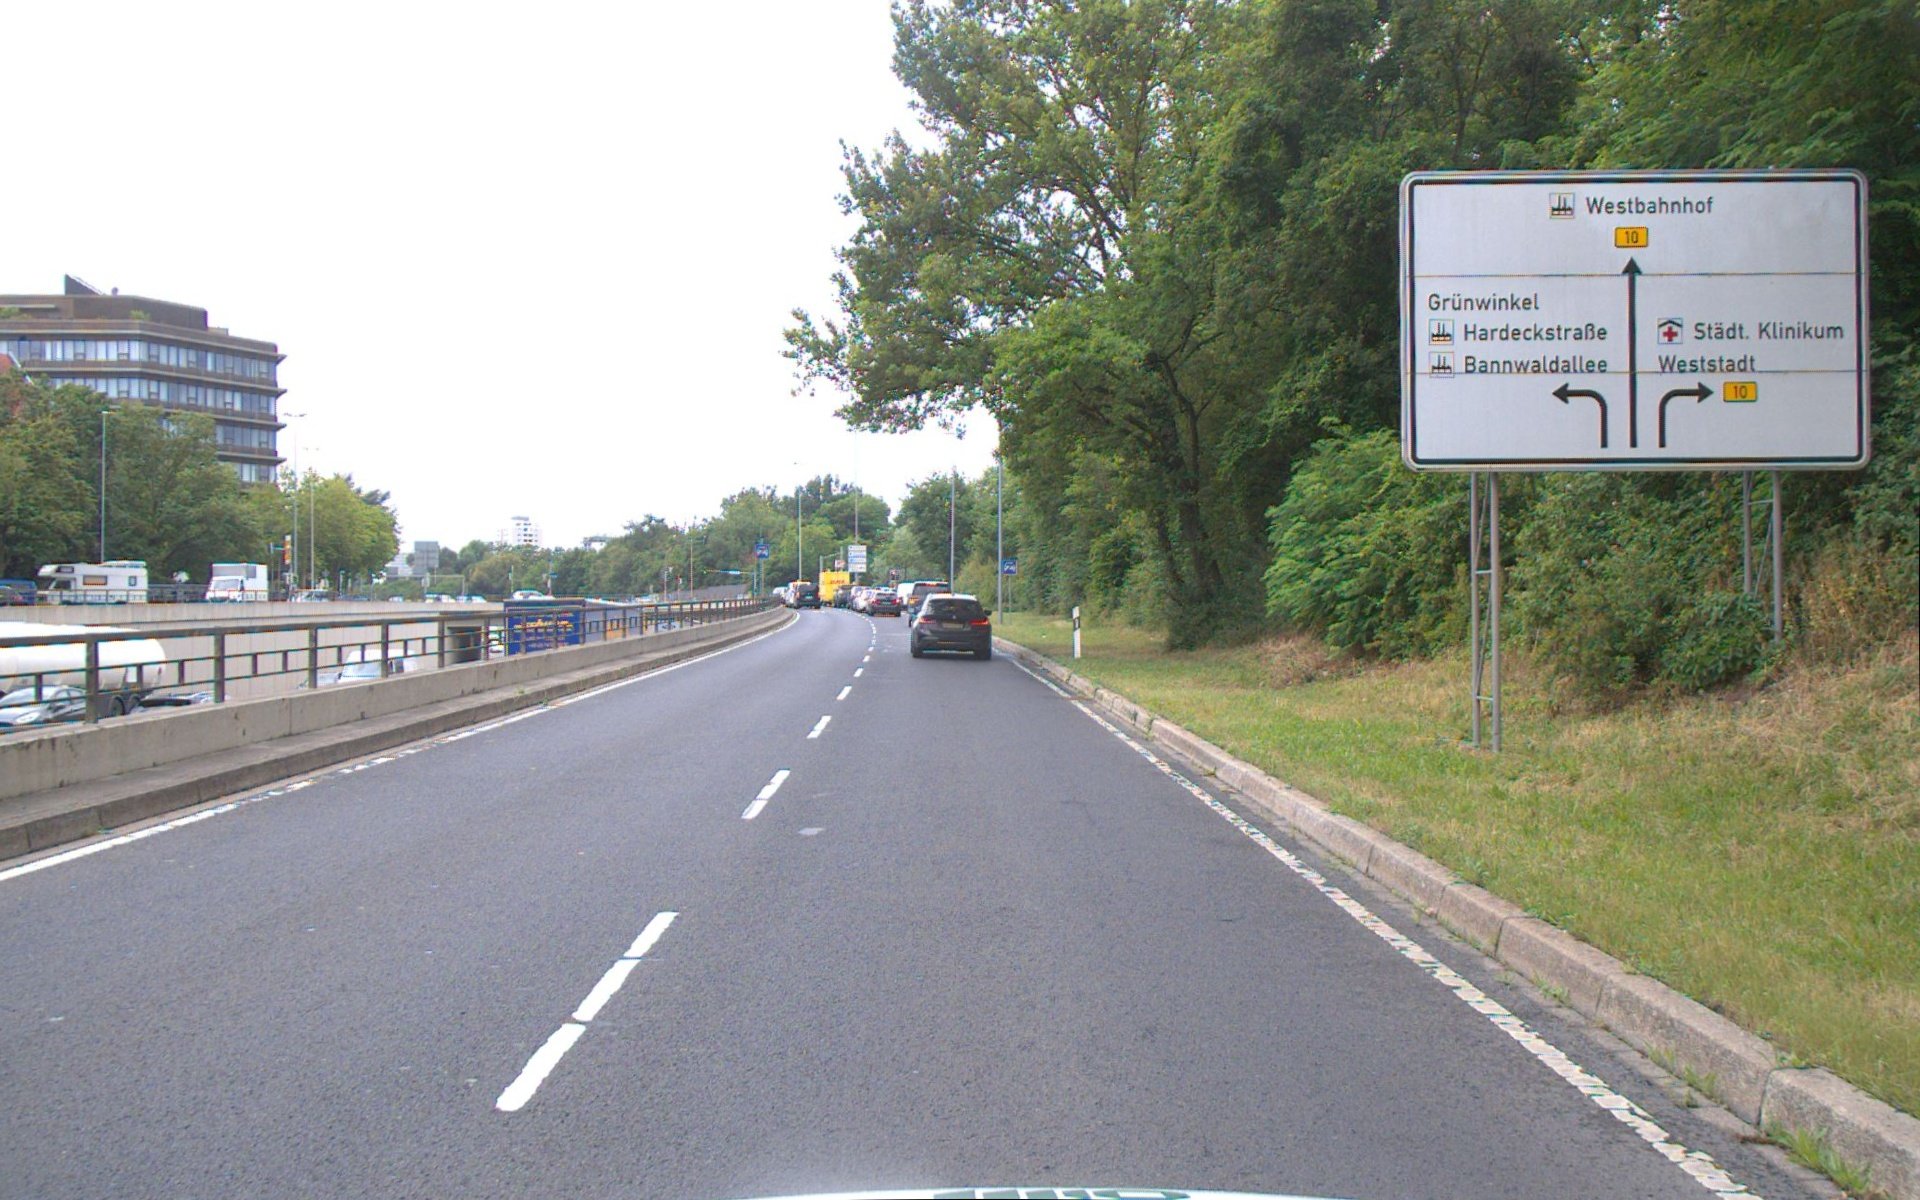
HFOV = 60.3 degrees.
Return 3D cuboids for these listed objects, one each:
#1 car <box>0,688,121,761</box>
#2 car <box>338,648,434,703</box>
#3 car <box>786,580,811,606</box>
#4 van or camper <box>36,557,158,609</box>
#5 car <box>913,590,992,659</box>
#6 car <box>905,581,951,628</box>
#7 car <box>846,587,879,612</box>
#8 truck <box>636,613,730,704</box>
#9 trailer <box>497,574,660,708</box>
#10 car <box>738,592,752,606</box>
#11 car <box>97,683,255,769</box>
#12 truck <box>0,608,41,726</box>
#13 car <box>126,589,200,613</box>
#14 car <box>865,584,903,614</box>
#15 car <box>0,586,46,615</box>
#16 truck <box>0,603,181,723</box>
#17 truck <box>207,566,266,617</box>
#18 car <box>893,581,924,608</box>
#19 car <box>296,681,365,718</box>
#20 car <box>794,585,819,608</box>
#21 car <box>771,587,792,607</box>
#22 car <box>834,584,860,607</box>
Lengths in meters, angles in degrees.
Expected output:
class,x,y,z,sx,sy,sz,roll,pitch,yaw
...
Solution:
class,x,y,z,sx,sy,sz,roll,pitch,yaw
car,-23.544,3.184,42.919,1.590,1.579,3.952,-1,0,-1
car,-25.345,3.284,73.340,2.165,2.034,6.652,-2,0,-3
car,-13.140,-0.556,134.271,1.849,2.022,4.423,1,0,-7
van or camper,-49.933,-0.969,95.777,2.109,2.859,5.885,1,-1,43
car,-0.231,0.523,38.206,1.713,1.451,4.460,0,1,-2
car,-1.346,0.203,70.361,1.860,1.917,4.414,1,0,-1
car,-6.445,-0.031,109.159,1.849,1.620,4.423,1,0,-7
truck,-13.793,2.721,83.579,2.794,4.107,15.569,-1,0,-3
trailer,-13.243,1.308,59.073,2.794,4.107,15.996,-1,0,-3
car,-26.744,-0.105,205.557,1.592,1.731,4.290,1,0,-6
car,-16.921,2.677,35.884,1.590,1.555,3.896,1,0,-1
truck,-28.037,1.891,46.212,2.474,3.276,4.316,-1,0,-3
car,-51.067,0.071,106.083,1.597,1.466,3.983,1,0,37
car,-4.388,-0.049,95.059,1.849,1.620,4.423,1,0,-7
car,-48.961,0.019,84.156,1.597,1.466,3.983,1,0,37
truck,-28.363,1.853,52.578,2.474,3.410,11.043,-1,0,-3
truck,-45.834,-0.518,104.920,1.981,3.039,7.075,1,0,-12
car,-3.783,-0.371,121.151,1.849,1.912,4.423,1,0,-7
car,-30.234,4.767,79.575,1.713,1.451,4.678,-1,0,-3
car,-11.740,-0.260,126.247,1.593,1.731,4.288,1,0,-9
car,-15.335,-0.257,142.144,1.593,1.731,4.288,1,0,-9
car,-8.976,-0.335,131.406,1.849,1.730,4.423,1,0,-7
